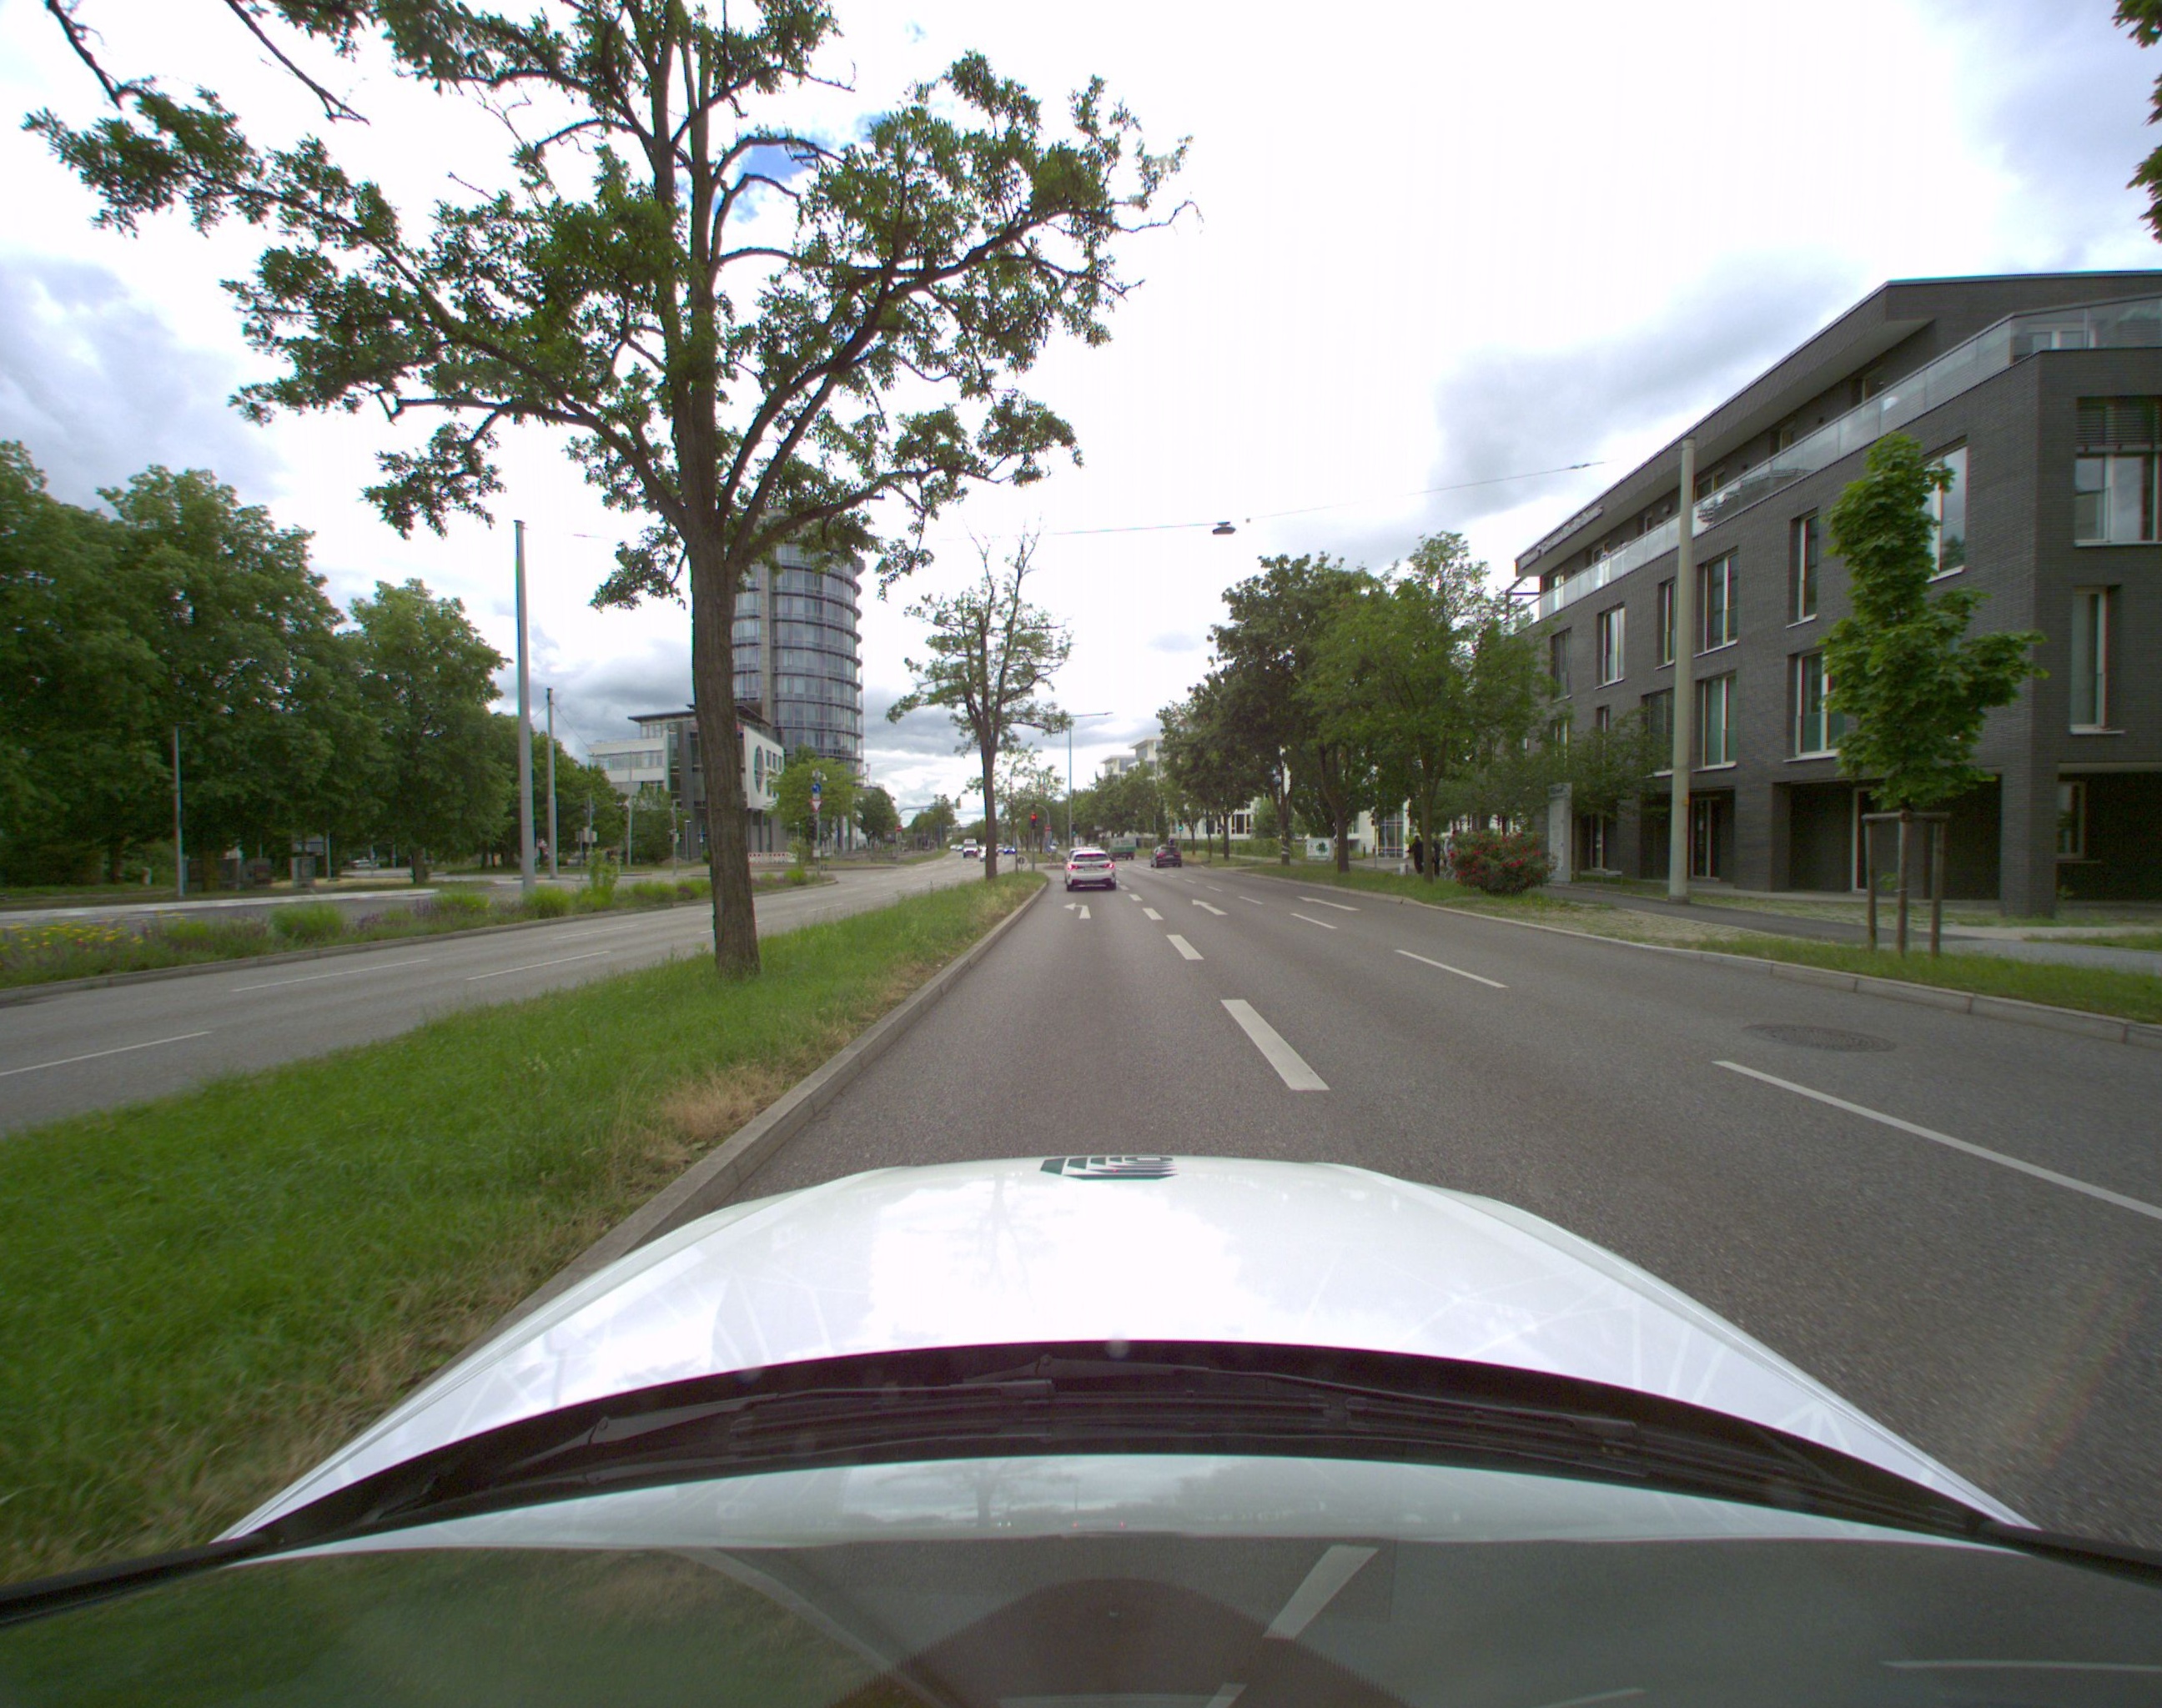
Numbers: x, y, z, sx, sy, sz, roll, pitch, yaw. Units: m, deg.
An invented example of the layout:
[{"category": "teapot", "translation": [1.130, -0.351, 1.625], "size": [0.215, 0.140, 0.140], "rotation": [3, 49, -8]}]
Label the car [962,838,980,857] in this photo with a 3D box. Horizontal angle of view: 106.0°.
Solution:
[{"category": "car", "translation": [-15.786, -0.953, 117.440], "size": [1.989, 2.634, 5.869], "rotation": [1, 1, -3]}]

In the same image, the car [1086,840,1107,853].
[{"category": "car", "translation": [1.879, -0.922, 100.919], "size": [1.992, 1.508, 3.990], "rotation": [-1, 1, -7]}]

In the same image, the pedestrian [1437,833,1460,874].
[{"category": "pedestrian", "translation": [14.304, -0.024, 31.689], "size": [0.586, 1.552, 0.745], "rotation": [-1, 0, 5]}]

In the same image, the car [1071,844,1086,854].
[{"category": "car", "translation": [-0.398, -0.756, 117.330], "size": [1.989, 1.490, 3.997], "rotation": [0, 1, -3]}]

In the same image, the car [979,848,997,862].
[{"category": "car", "translation": [-10.474, 0.084, 91.739], "size": [1.749, 1.444, 4.131], "rotation": [1, 1, -3]}]

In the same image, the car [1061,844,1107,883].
[{"category": "car", "translation": [0.155, 0.424, 37.677], "size": [1.986, 1.672, 4.001], "rotation": [-1, 0, 1]}]

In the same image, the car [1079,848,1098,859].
[{"category": "car", "translation": [1.035, -0.128, 114.038], "size": [1.993, 1.508, 3.988], "rotation": [-1, 1, -9]}]

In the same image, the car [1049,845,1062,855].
[{"category": "car", "translation": [-3.895, -0.571, 124.380], "size": [1.989, 1.490, 3.997], "rotation": [0, 1, -3]}]

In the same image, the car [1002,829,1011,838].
[{"category": "car", "translation": [-17.996, -4.865, 195.937], "size": [1.989, 2.010, 4.320], "rotation": [1, 1, -3]}]

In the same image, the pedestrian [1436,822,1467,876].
[{"category": "pedestrian", "translation": [12.494, -0.174, 27.490], "size": [0.606, 1.775, 0.954], "rotation": [-1, 2, 0]}]

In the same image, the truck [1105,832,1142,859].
[{"category": "truck", "translation": [4.103, -0.769, 79.747], "size": [2.854, 2.519, 6.279], "rotation": [-1, 0, -4]}]

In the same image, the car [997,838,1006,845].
[{"category": "car", "translation": [-20.770, -3.264, 213.756], "size": [1.987, 1.618, 4.000], "rotation": [1, 1, 0]}]

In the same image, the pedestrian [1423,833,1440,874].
[{"category": "pedestrian", "translation": [13.589, -0.017, 31.580], "size": [0.407, 1.552, 0.562], "rotation": [-1, 0, 5]}]

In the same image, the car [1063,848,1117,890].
[{"category": "car", "translation": [0.406, 0.526, 30.559], "size": [1.856, 1.449, 4.003], "rotation": [-1, 0, 2]}]

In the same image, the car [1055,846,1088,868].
[{"category": "car", "translation": [-0.636, 0.230, 59.734], "size": [1.984, 1.508, 4.006], "rotation": [-1, 0, 6]}]

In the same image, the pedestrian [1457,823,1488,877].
[{"category": "pedestrian", "translation": [13.203, -0.166, 27.501], "size": [0.606, 1.775, 0.954], "rotation": [-1, 2, 0]}]

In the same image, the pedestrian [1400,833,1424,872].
[{"category": "pedestrian", "translation": [13.287, -0.059, 32.725], "size": [0.722, 1.552, 0.588], "rotation": [-1, 0, 5]}]

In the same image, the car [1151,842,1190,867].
[{"category": "car", "translation": [5.941, -0.005, 54.595], "size": [1.989, 1.596, 3.996], "rotation": [-1, 1, -3]}]

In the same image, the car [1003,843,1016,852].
[{"category": "car", "translation": [-11.617, -1.008, 132.855], "size": [1.748, 1.371, 3.779], "rotation": [-2, 1, 0]}]
